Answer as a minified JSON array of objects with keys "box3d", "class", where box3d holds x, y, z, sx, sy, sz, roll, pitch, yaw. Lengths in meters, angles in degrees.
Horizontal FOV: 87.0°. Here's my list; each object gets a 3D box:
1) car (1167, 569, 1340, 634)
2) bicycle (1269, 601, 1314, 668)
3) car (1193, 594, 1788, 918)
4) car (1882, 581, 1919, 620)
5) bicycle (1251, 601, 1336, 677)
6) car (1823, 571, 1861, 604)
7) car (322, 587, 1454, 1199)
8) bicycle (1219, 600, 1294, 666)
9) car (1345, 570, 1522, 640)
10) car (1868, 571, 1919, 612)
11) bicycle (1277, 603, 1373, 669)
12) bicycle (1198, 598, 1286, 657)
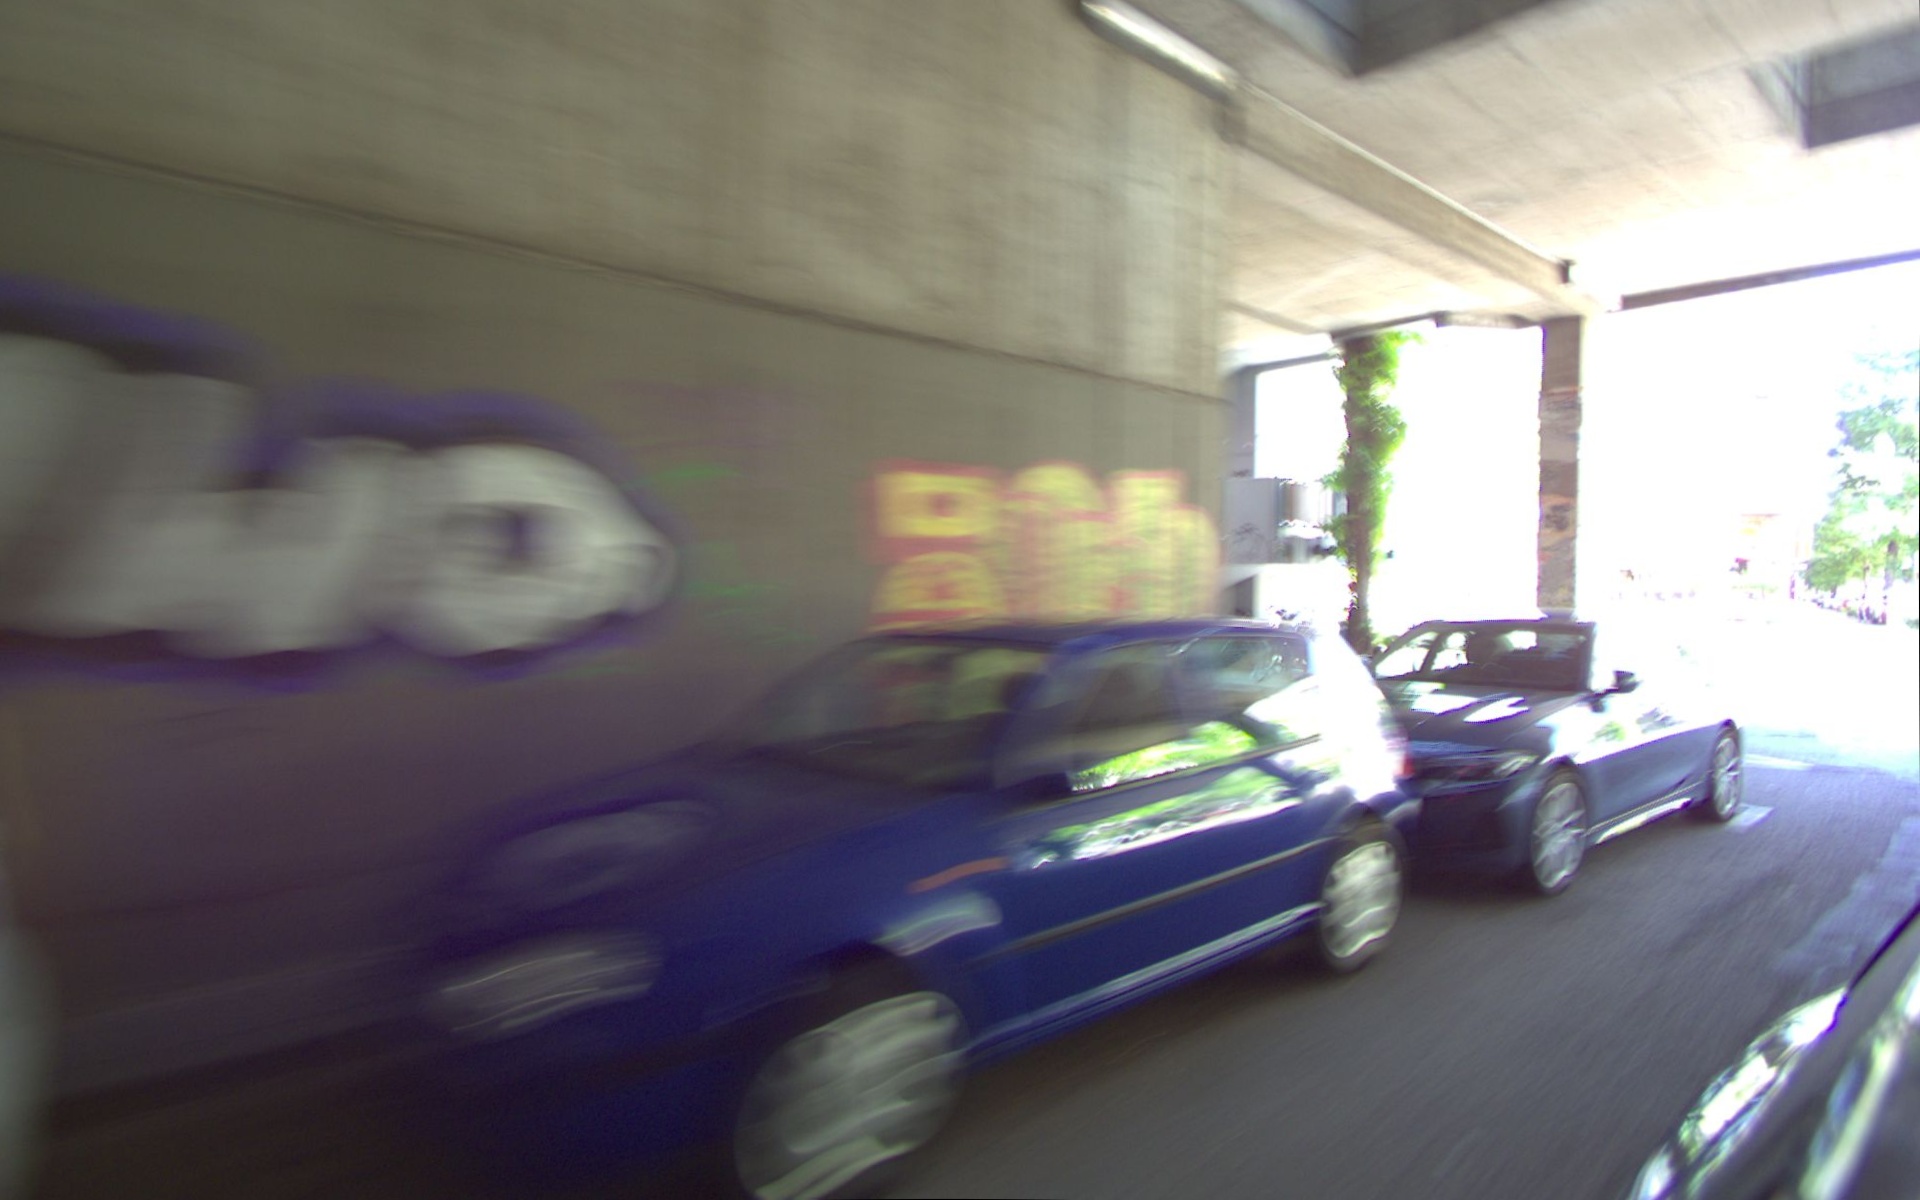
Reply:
[{"box3d":[8.231,-0.025,28.755,1.841,1.647,4.501,-1,3,-39],"class":"car"},{"box3d":[5.363,0.536,16.308,0.411,1.013,1.602,3,1,27],"class":"bicycle"},{"box3d":[3.750,0.706,6.776,4.523,1.451,1.856,-1,0,-38],"class":"car"},{"box3d":[39.646,0.054,41.953,1.771,1.458,3.943,6,3,39],"class":"car"},{"box3d":[4.887,0.544,14.767,0.483,1.013,1.775,3,2,42],"class":"bicycle"},{"box3d":[77.383,-1.114,88.822,2.265,2.696,4.260,2,-1,39],"class":"car"},{"box3d":[0.078,0.688,3.801,3.992,1.428,1.765,-1,2,-41],"class":"car"},{"box3d":[4.851,0.531,16.487,0.414,1.013,1.774,3,1,42],"class":"bicycle"},{"box3d":[11.482,0.066,24.687,1.696,1.537,3.525,-2,3,-42],"class":"car"},{"box3d":[48.723,-0.414,52.692,1.988,2.054,4.240,2,1,40],"class":"car"},{"box3d":[6.370,0.604,17.776,0.406,1.044,1.806,4,0,-23],"class":"bicycle"},{"box3d":[5.385,0.505,19.416,0.407,1.013,1.804,4,0,-30],"class":"bicycle"}]
